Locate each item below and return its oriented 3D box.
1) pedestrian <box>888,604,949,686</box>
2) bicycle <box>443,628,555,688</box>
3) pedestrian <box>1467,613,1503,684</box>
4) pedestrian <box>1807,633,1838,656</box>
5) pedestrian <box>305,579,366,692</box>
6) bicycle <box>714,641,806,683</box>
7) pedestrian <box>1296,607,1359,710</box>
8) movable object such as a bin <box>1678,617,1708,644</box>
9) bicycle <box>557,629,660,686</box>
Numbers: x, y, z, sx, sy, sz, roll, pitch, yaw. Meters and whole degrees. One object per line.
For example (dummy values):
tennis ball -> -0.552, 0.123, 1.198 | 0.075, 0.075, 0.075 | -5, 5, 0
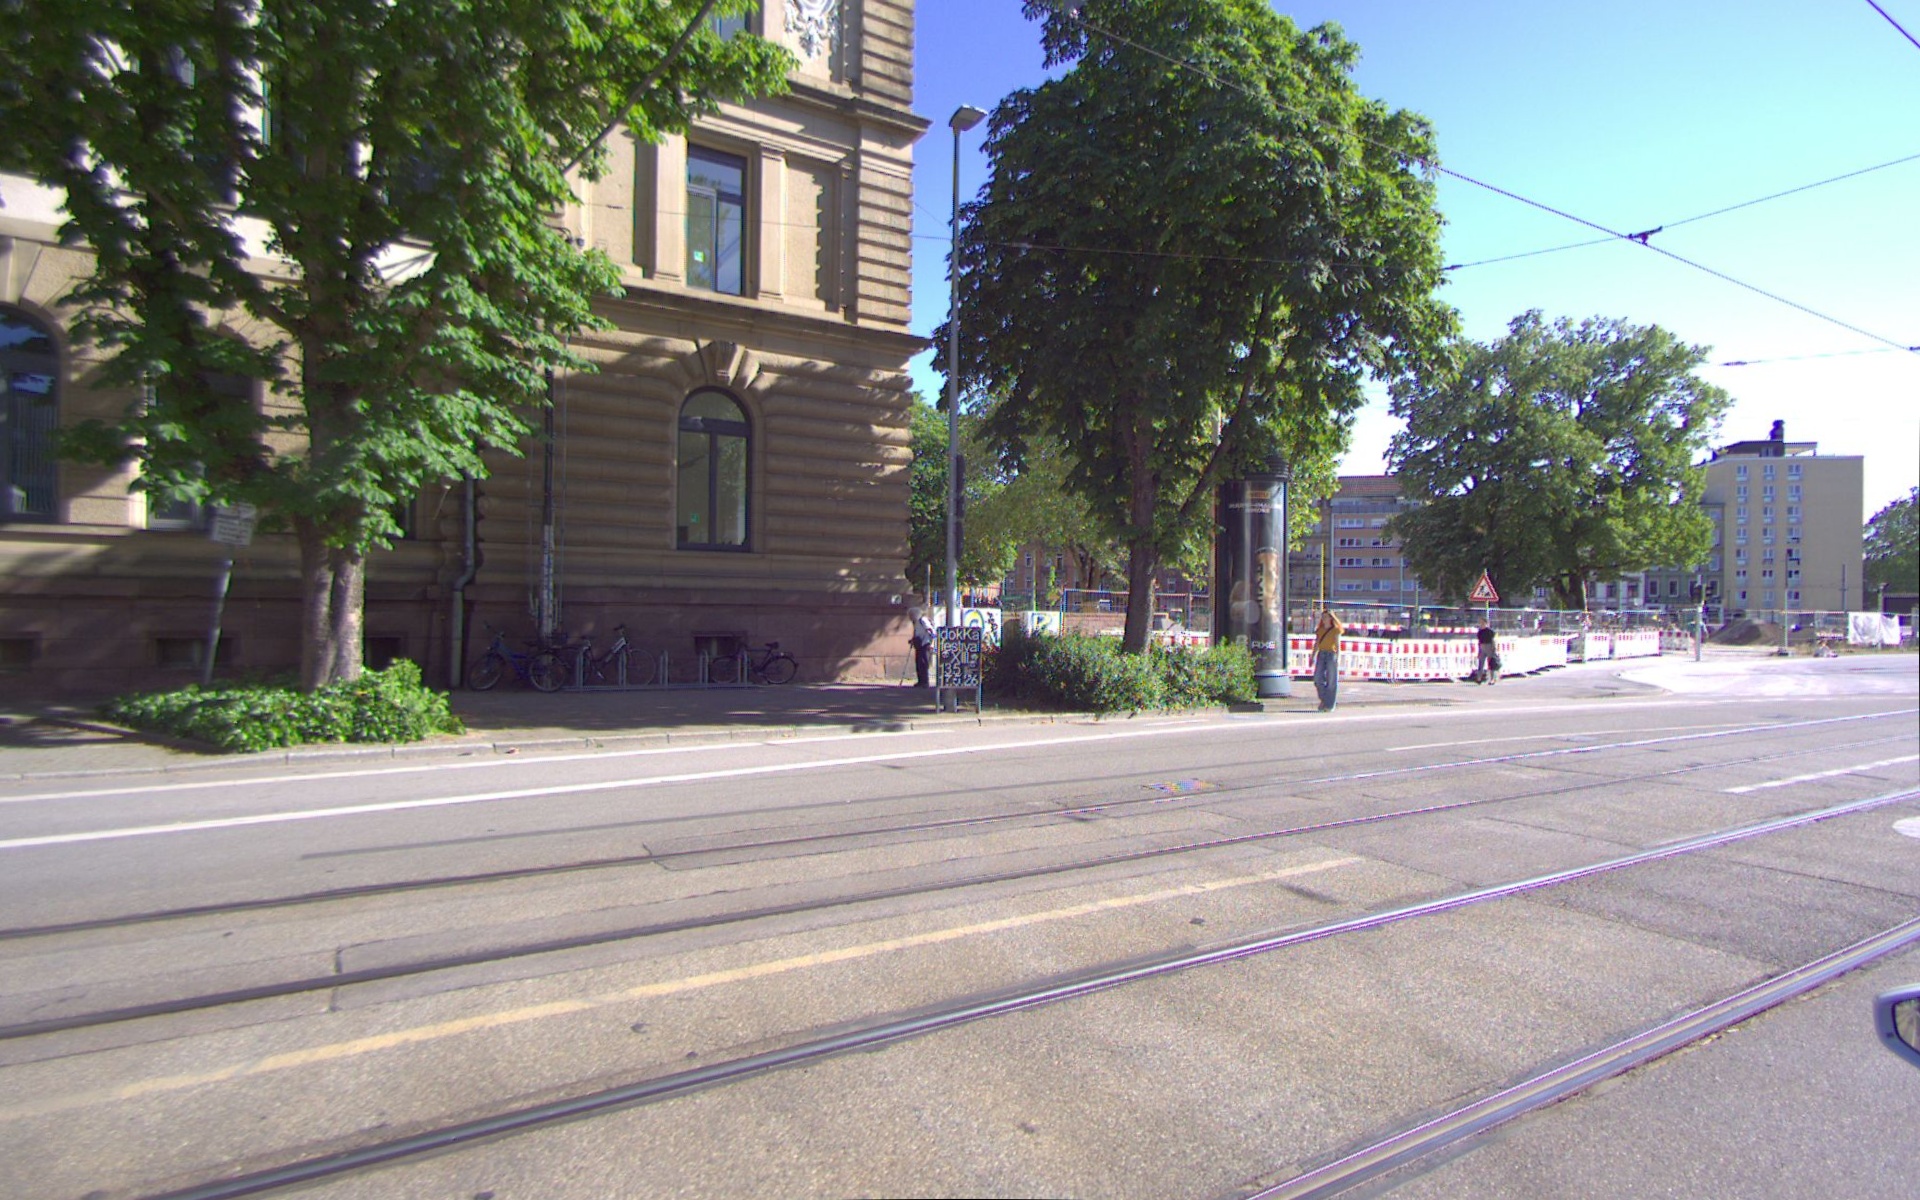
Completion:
pedestrian -> -0.794, 0.843, 19.278 | 0.908, 1.524, 0.704 | 0, -1, 33
bicycle -> -7.504, 0.935, 16.375 | 1.601, 0.929, 0.478 | 2, -1, -30
pedestrian -> 13.095, 1.201, 25.036 | 0.674, 1.719, 0.612 | 1, -1, -44
pedestrian -> 39.633, 2.044, 46.159 | 0.648, 1.060, 0.893 | 1, -1, -30
pedestrian -> -9.452, 0.521, 15.224 | 0.751, 1.657, 0.697 | 1, 2, -31
bicycle -> -3.736, 1.151, 18.803 | 1.601, 0.734, 0.478 | 2, -1, -30
pedestrian -> 6.328, 0.994, 17.301 | 0.809, 1.719, 0.633 | 1, -2, -28
movable object such as a bin -> 58.009, 2.410, 79.544 | 1.893, 2.040, 3.986 | 0, -1, 36
bicycle -> -6.046, 0.979, 17.304 | 1.601, 0.929, 0.478 | 2, -1, -30
